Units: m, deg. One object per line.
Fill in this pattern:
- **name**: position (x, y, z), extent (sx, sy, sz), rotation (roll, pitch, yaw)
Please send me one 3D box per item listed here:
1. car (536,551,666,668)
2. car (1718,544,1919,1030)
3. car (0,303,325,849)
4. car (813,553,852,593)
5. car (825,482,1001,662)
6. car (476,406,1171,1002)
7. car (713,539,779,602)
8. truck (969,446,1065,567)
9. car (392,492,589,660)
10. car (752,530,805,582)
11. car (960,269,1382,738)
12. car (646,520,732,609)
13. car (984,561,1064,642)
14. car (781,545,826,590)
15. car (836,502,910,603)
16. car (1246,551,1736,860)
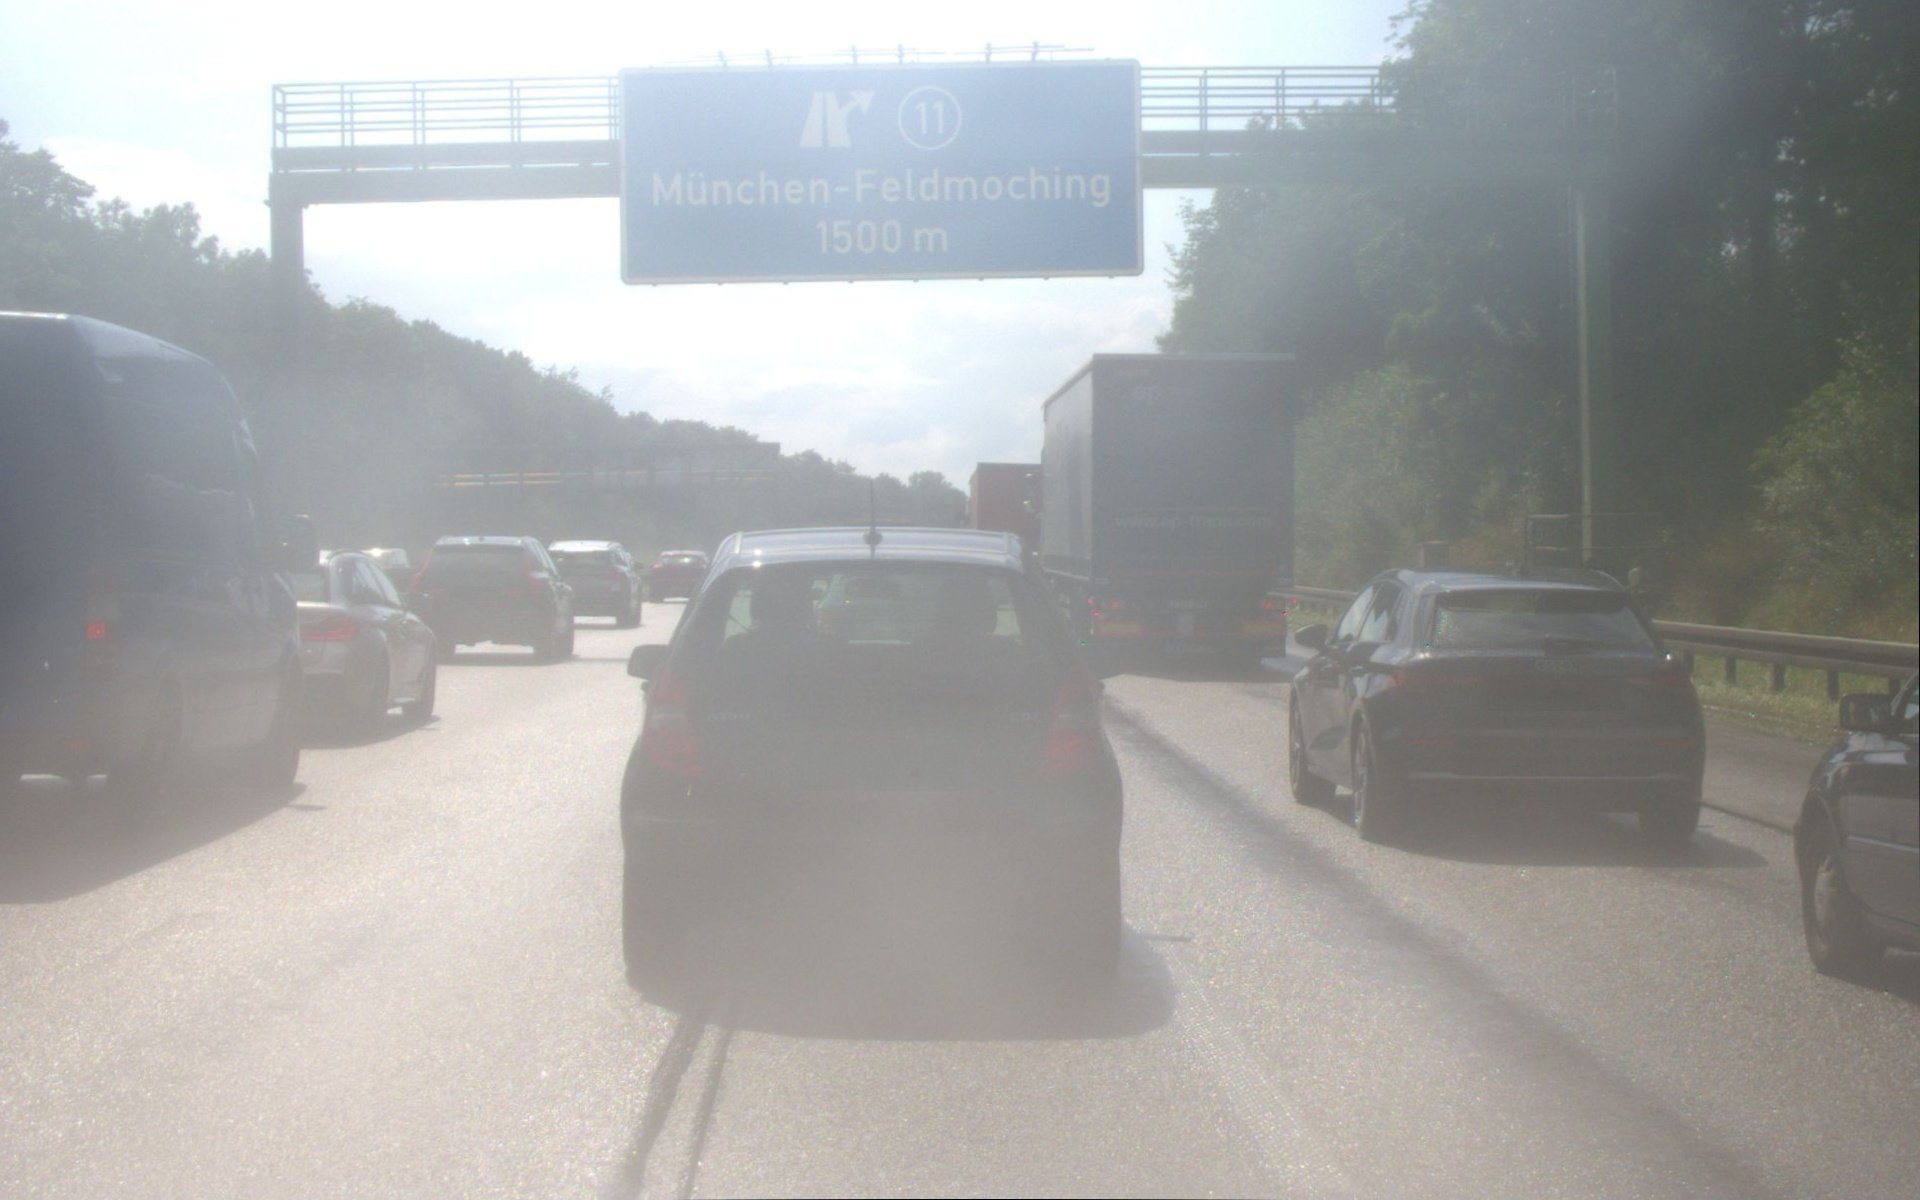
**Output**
- **car**: position (-6.787, 0.147, 65.412), extent (1.993, 2.108, 4.889), rotation (1, 0, -1)
- **car**: position (3.769, 0.589, 10.970), extent (1.590, 1.511, 3.976), rotation (1, 0, -3)
- **car**: position (-4.994, -0.148, 19.076), extent (1.993, 2.606, 5.260), rotation (1, 0, -1)
- **car**: position (-6.915, -1.465, 186.968), extent (1.993, 2.108, 4.889), rotation (1, 0, -1)
- **car**: position (-0.550, -0.300, 36.611), extent (1.692, 1.798, 3.976), rotation (1, 0, -3)
- **car**: position (-0.557, 0.327, 13.794), extent (2.274, 1.948, 4.822), rotation (1, 0, -3)
- **car**: position (-7.352, -1.015, 118.330), extent (1.993, 2.108, 4.889), rotation (1, 0, -1)
- **truck**: position (1.748, -2.860, 107.298), extent (2.775, 3.619, 5.917), rotation (1, 0, -1)
- **car**: position (-6.207, -0.327, 45.964), extent (1.993, 2.108, 4.889), rotation (1, 0, -1)
- **car**: position (-7.528, -1.815, 143.038), extent (1.993, 2.108, 4.889), rotation (1, 0, -1)
- **car**: position (2.651, -1.280, 51.408), extent (4.403, 5.810, 16.820), rotation (1, 0, -3)
- **car**: position (-7.507, -0.978, 95.532), extent (1.993, 2.377, 5.260), rotation (1, 0, -1)
- **car**: position (1.705, 0.020, 93.535), extent (1.993, 2.108, 4.889), rotation (1, 0, -1)
- **car**: position (-7.538, -1.583, 166.234), extent (1.993, 2.108, 4.889), rotation (1, 0, -1)
- **car**: position (-2.416, -1.331, 96.625), extent (1.993, 2.737, 5.260), rotation (1, 0, -1)
- **car**: position (2.799, 0.505, 19.010), extent (1.864, 1.511, 3.976), rotation (1, 0, -3)
